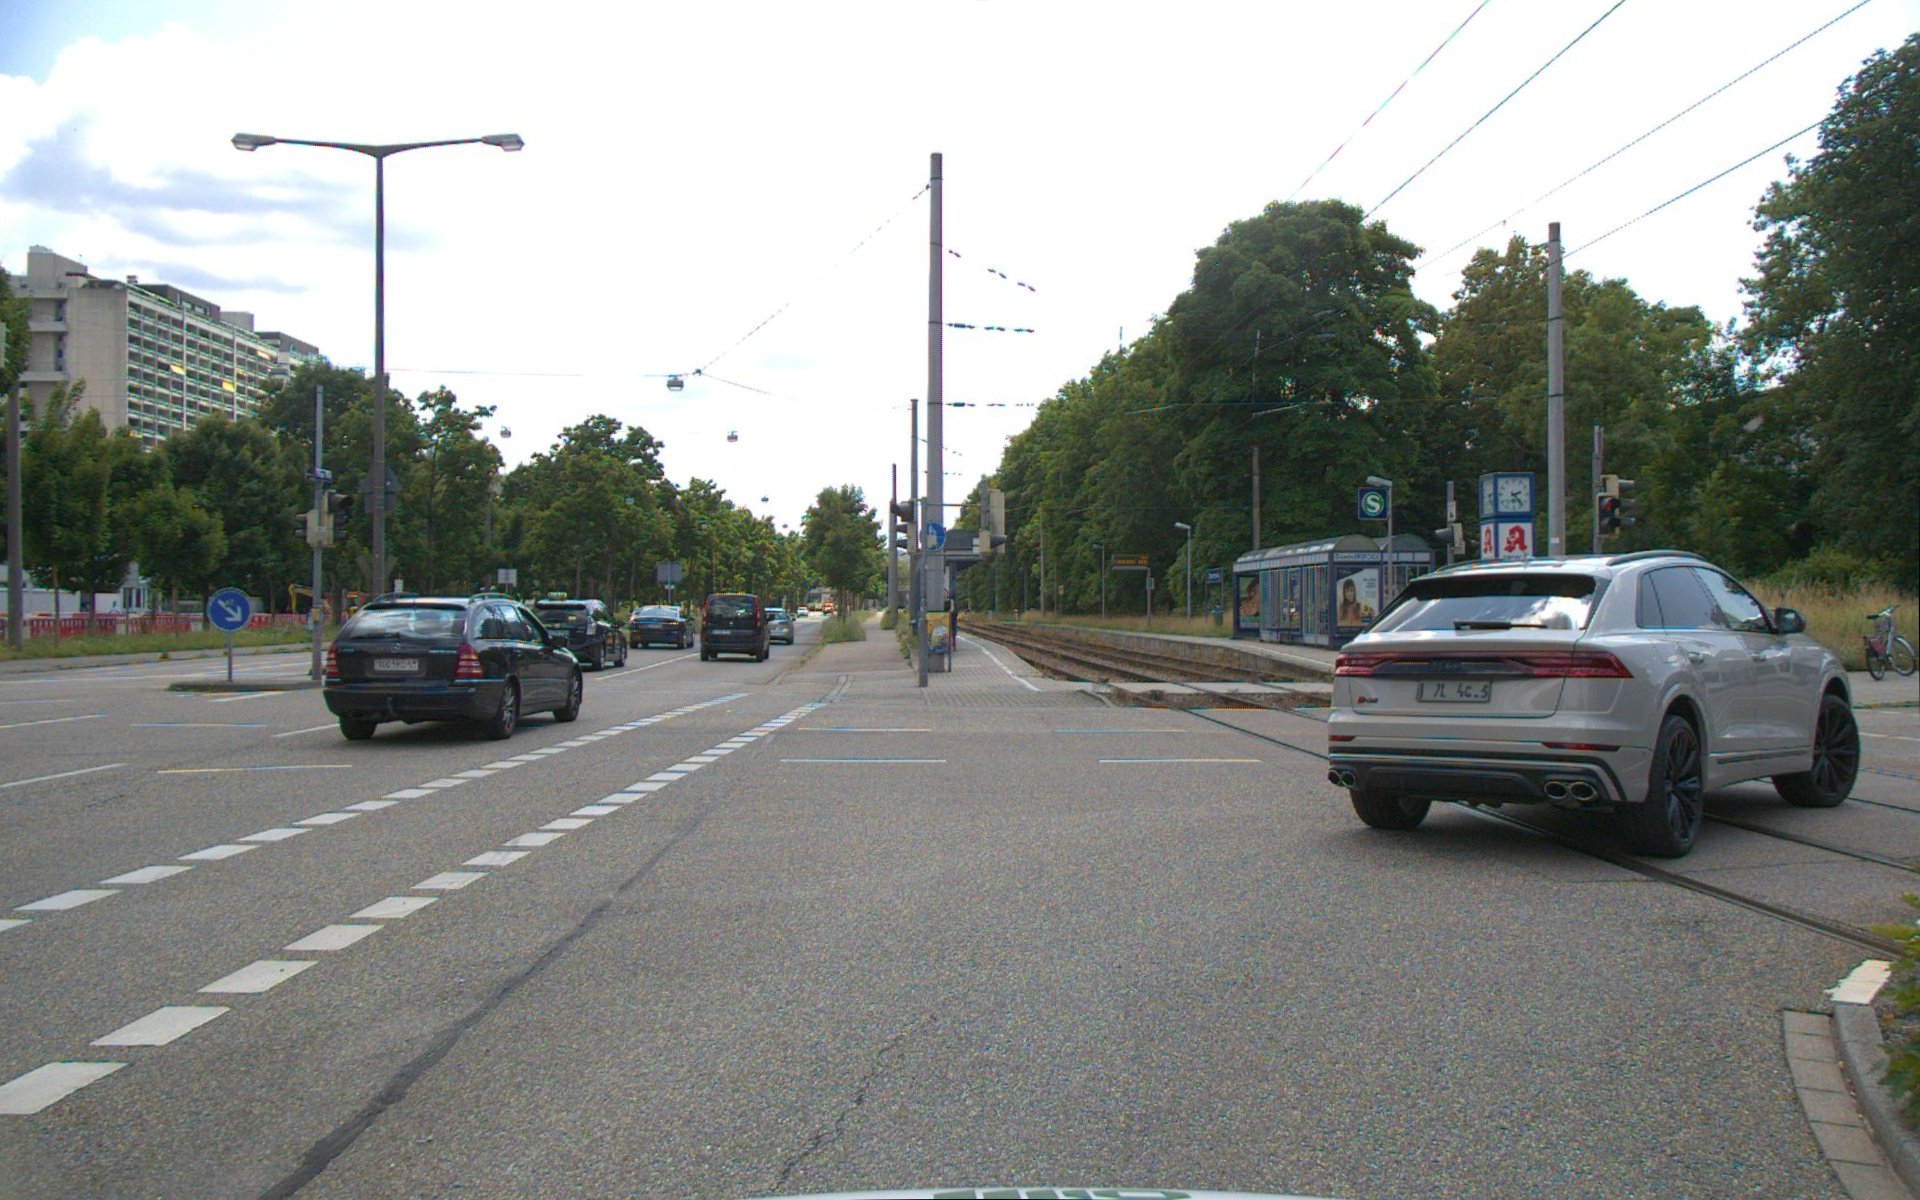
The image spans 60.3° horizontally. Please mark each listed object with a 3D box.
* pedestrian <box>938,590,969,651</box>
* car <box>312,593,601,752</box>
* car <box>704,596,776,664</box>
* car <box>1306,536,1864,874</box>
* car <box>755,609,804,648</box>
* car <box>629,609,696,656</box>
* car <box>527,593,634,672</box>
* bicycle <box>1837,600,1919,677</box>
[{"bbox_3d":[-0.170,0.514,41.970,0.642,1.540,0.716,0,0,-11],"label":"pedestrian"},{"bbox_3d":[-5.198,0.684,17.708,1.719,1.491,4.433,0,0,0],"label":"car"},{"bbox_3d":[-6.145,0.828,46.535,1.725,1.808,3.906,1,-1,-4],"label":"car"},{"bbox_3d":[4.245,0.539,10.758,1.952,1.713,4.548,-1,0,41],"label":"car"},{"bbox_3d":[-7.463,1.158,68.746,1.750,1.552,4.298,1,-1,-3],"label":"car"},{"bbox_3d":[-10.160,1.105,56.673,1.827,1.531,3.996,1,-1,-4],"label":"car"},{"bbox_3d":[-8.630,0.726,37.915,1.751,1.697,4.336,1,-1,-5],"label":"car"},{"bbox_3d":[15.068,0.607,26.989,1.643,1.152,0.692,-2,1,-37],"label":"bicycle"}]
